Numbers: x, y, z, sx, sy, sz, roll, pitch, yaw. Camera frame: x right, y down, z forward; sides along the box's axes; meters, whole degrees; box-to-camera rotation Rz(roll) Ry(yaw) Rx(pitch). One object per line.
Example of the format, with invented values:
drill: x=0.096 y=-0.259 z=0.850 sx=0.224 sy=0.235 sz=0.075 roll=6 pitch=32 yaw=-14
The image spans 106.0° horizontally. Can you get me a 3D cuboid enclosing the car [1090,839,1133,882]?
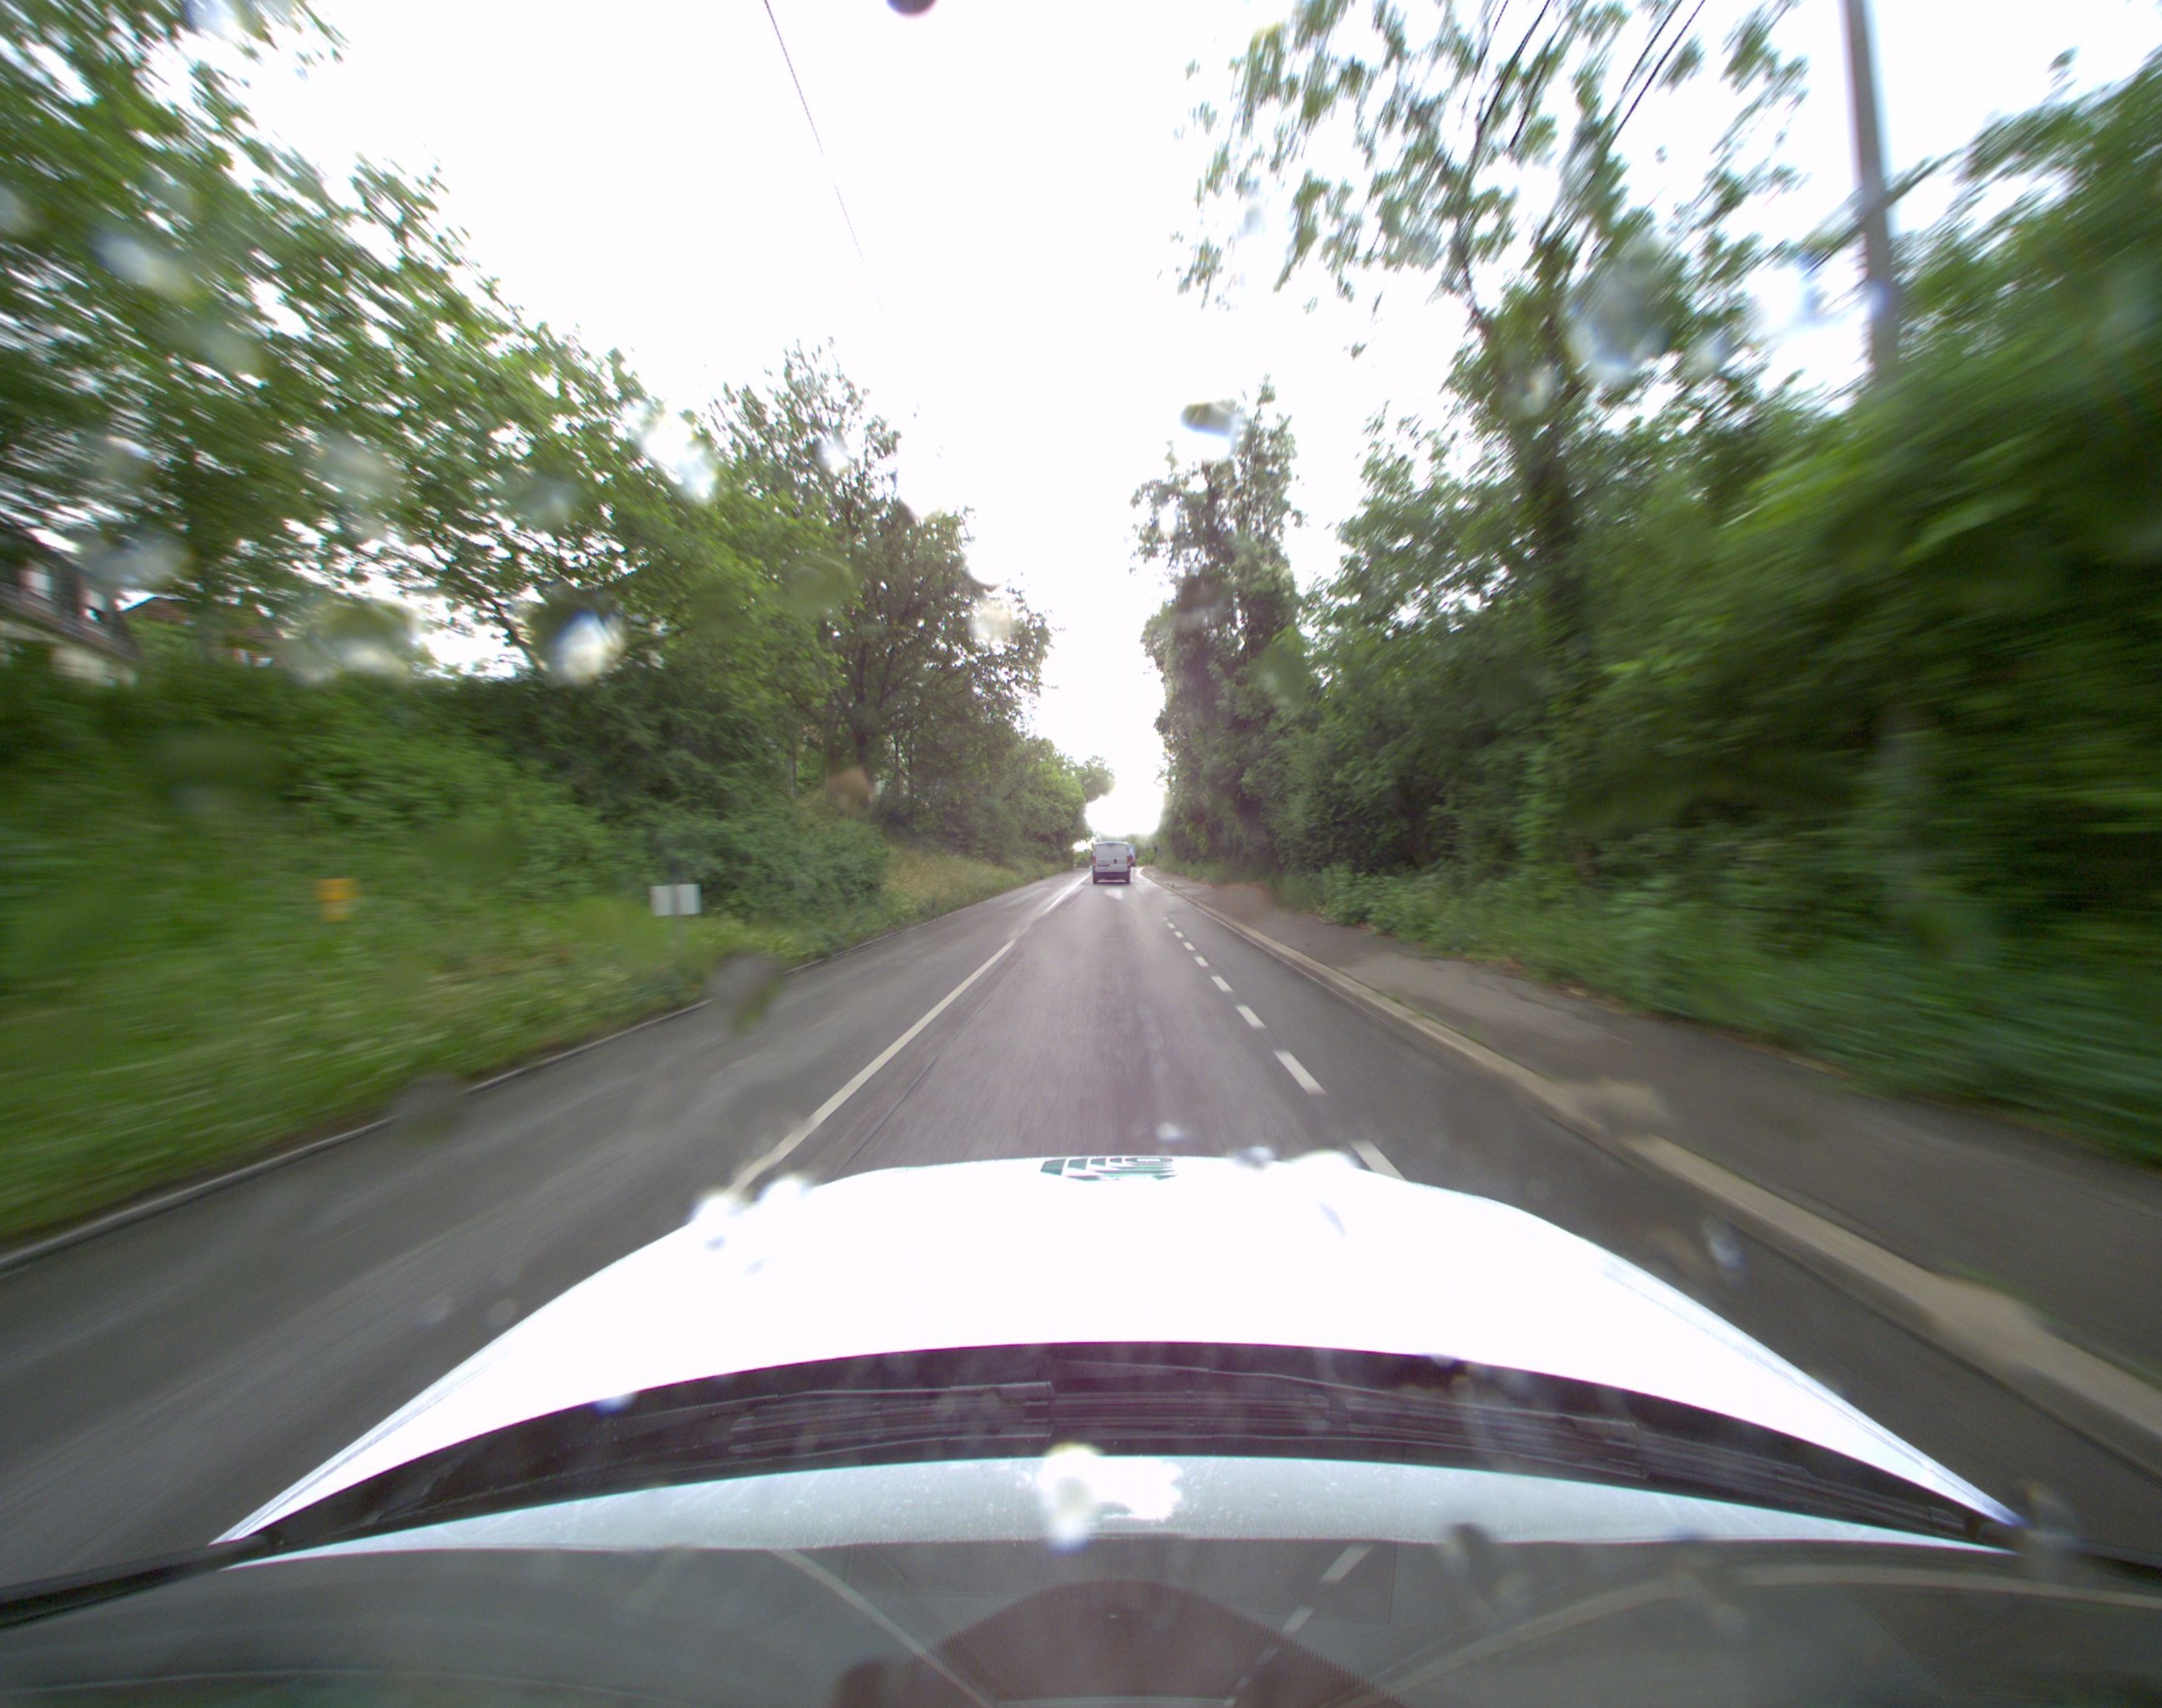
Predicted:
car: x=1.679 y=0.349 z=45.037 sx=2.229 sy=2.213 sz=4.715 roll=0 pitch=0 yaw=2

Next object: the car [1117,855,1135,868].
car: x=6.291 y=1.099 z=114.473 sx=2.230 sy=1.804 sz=4.713 roll=0 pitch=0 yaw=1
